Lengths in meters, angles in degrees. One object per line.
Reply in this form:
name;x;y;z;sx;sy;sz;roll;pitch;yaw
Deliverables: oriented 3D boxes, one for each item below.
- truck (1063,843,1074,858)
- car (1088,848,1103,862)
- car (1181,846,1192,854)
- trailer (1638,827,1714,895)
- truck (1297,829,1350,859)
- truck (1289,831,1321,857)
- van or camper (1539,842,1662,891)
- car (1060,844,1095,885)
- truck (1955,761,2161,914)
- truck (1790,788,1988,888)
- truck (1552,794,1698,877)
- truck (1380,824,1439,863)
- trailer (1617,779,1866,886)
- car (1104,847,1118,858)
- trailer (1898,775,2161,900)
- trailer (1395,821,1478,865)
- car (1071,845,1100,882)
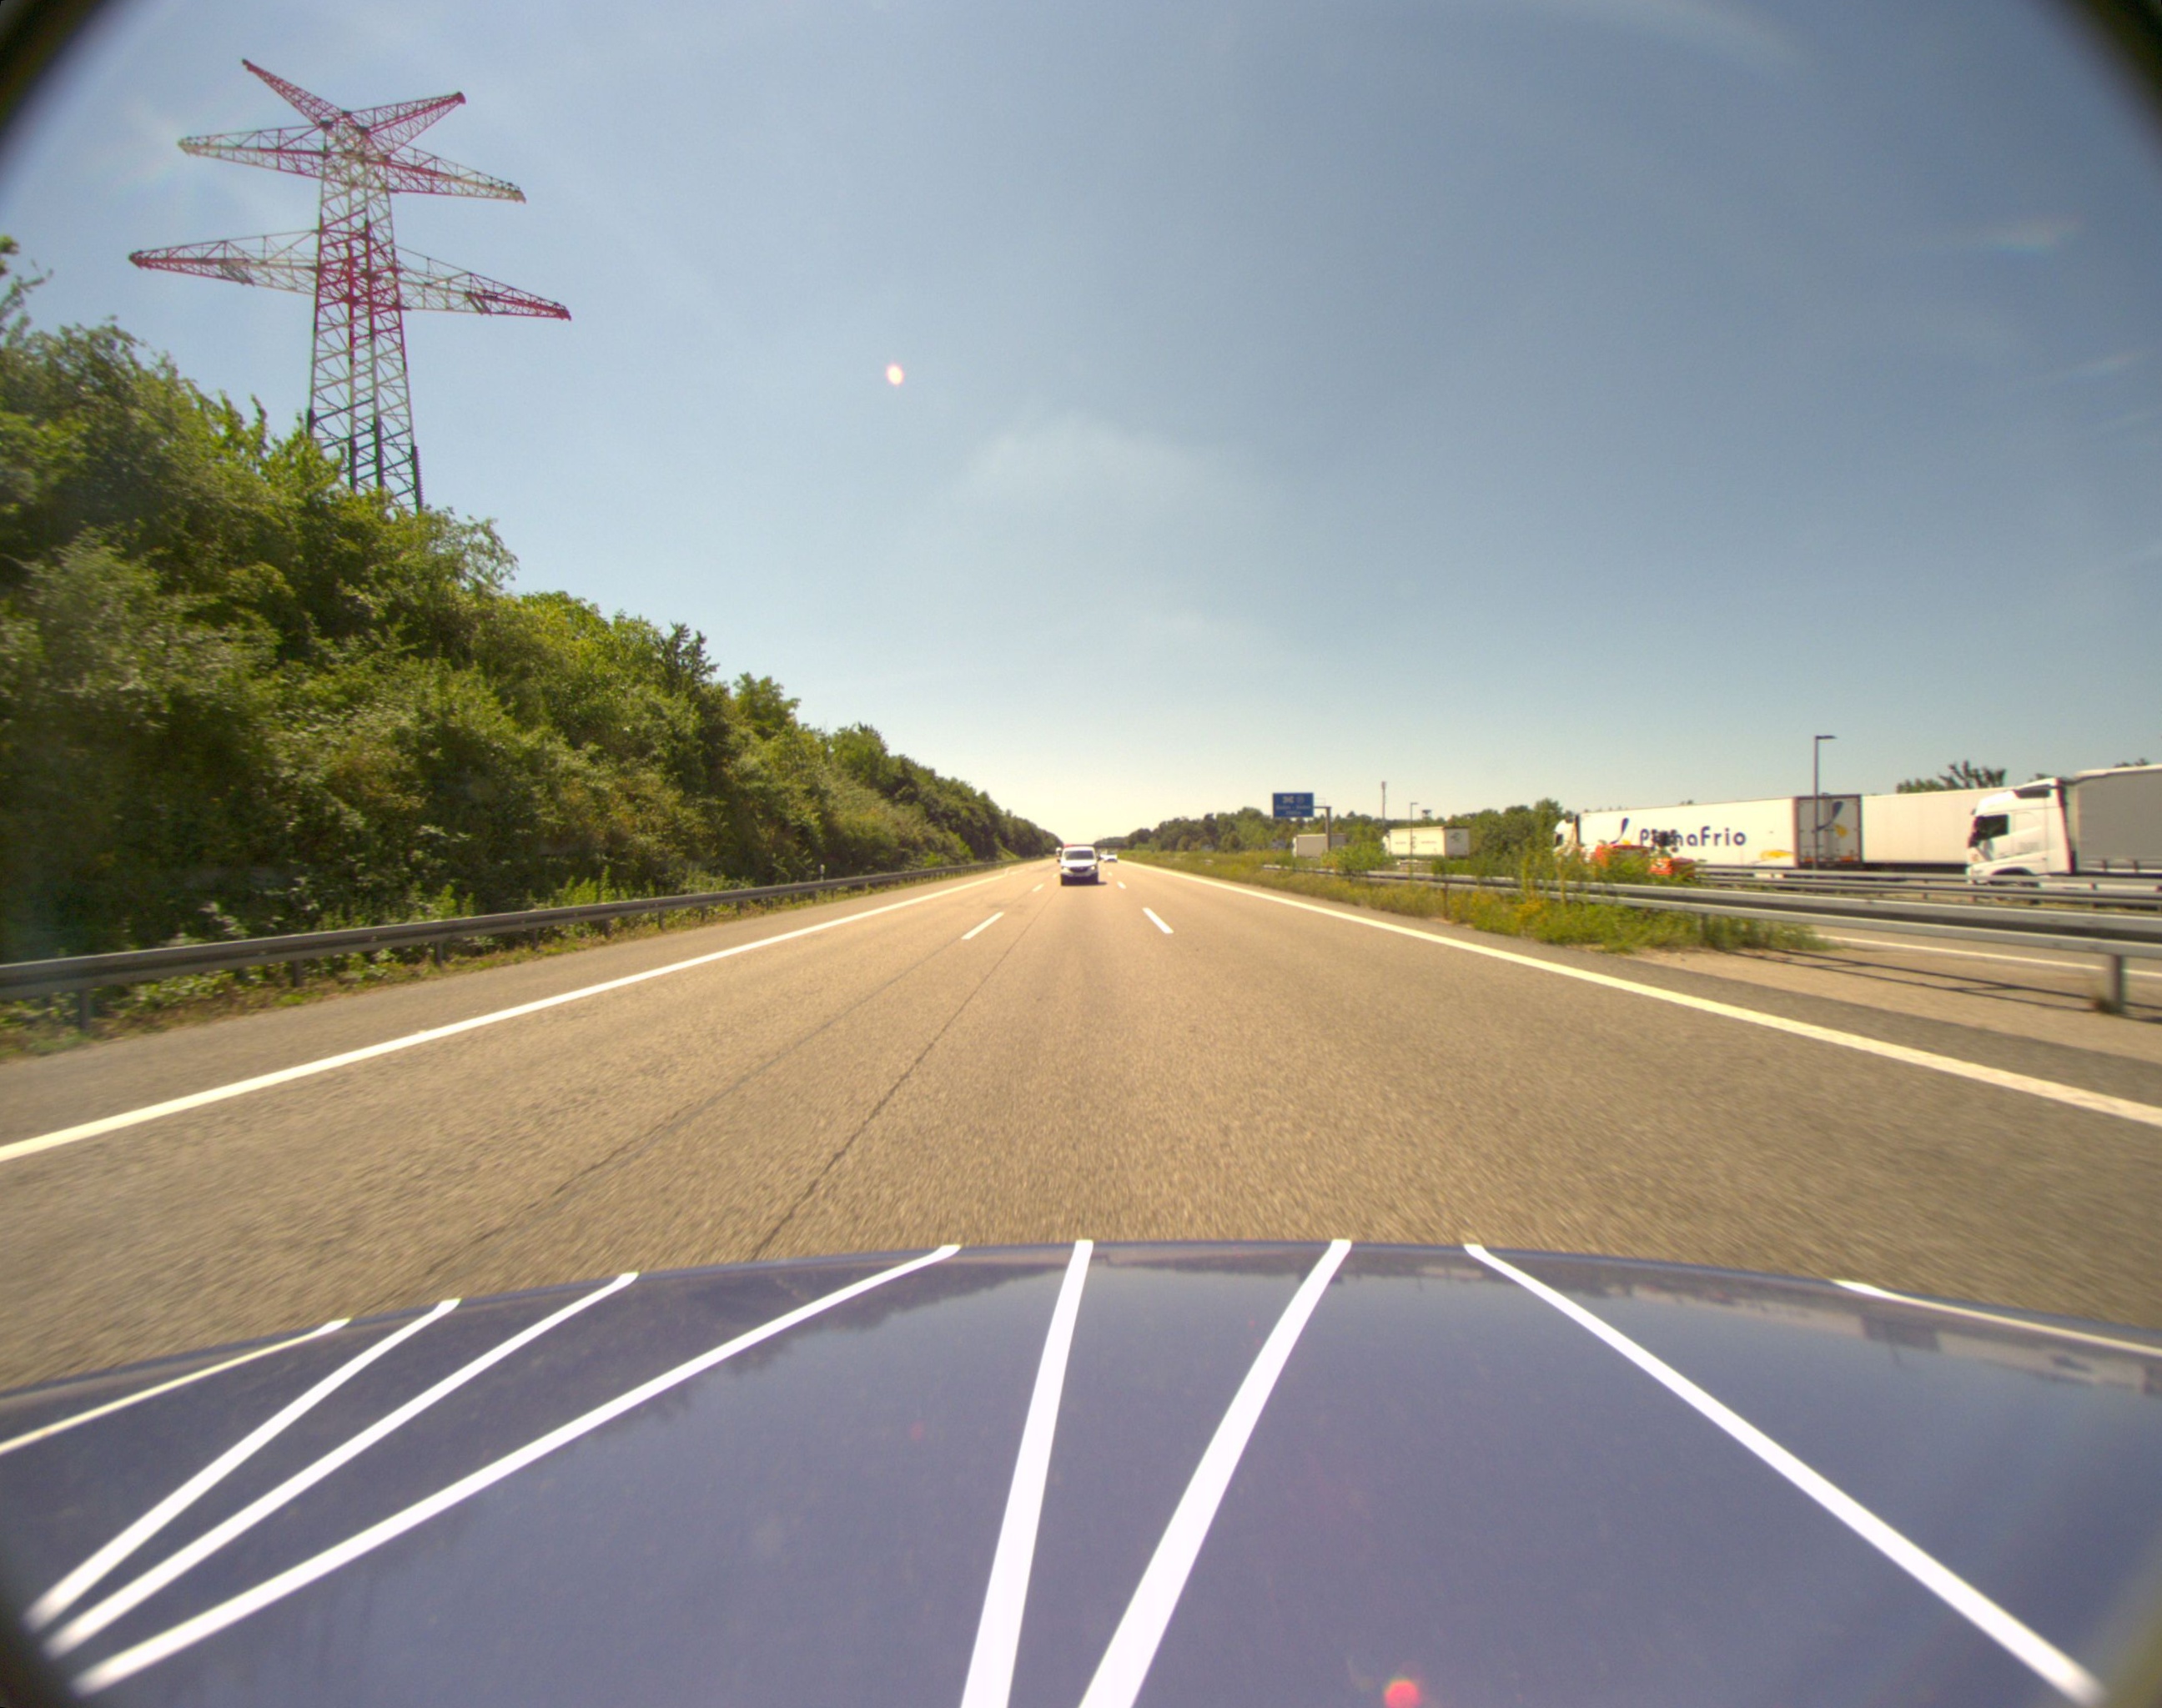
truck;-3.120;-0.835;190.464;2.540;3.656;5.219;-3;1;1
car;1.629;0.114;87.003;1.586;1.497;3.793;-3;1;1
car;22.923;-0.906;165.182;1.654;1.737;4.408;-3;1;0
trailer;21.348;0.242;27.330;1.170;2.355;1.998;-1;1;1
truck;32.731;-1.350;103.258;2.806;3.622;13.604;-3;1;1
truck;32.806;-1.416;111.328;2.806;3.622;6.146;-3;1;1
van or camper;21.425;0.460;31.591;1.901;1.828;4.746;-1;1;1
car;-0.161;0.483;36.363;1.501;1.799;3.393;-3;1;0
truck;30.790;-0.521;21.596;3.125;4.134;7.503;-3;1;-1
truck;35.772;-0.673;33.997;2.702;3.983;5.743;-3;1;0
truck;30.543;-0.989;43.200;2.588;4.164;7.935;-2;1;0
truck;37.647;-1.203;87.445;3.103;4.128;8.315;-3;1;0
trailer;30.486;-0.914;36.072;2.605;4.194;10.513;-3;1;0
car;4.261;-0.273;107.858;1.775;1.410;3.401;-3;1;1
trailer;35.721;-0.607;27.289;2.702;3.983;9.306;-3;1;0
trailer;37.614;-1.143;81.085;3.102;4.132;12.009;-3;1;0
car;0.227;0.468;40.106;1.413;1.795;3.200;-3;1;0
